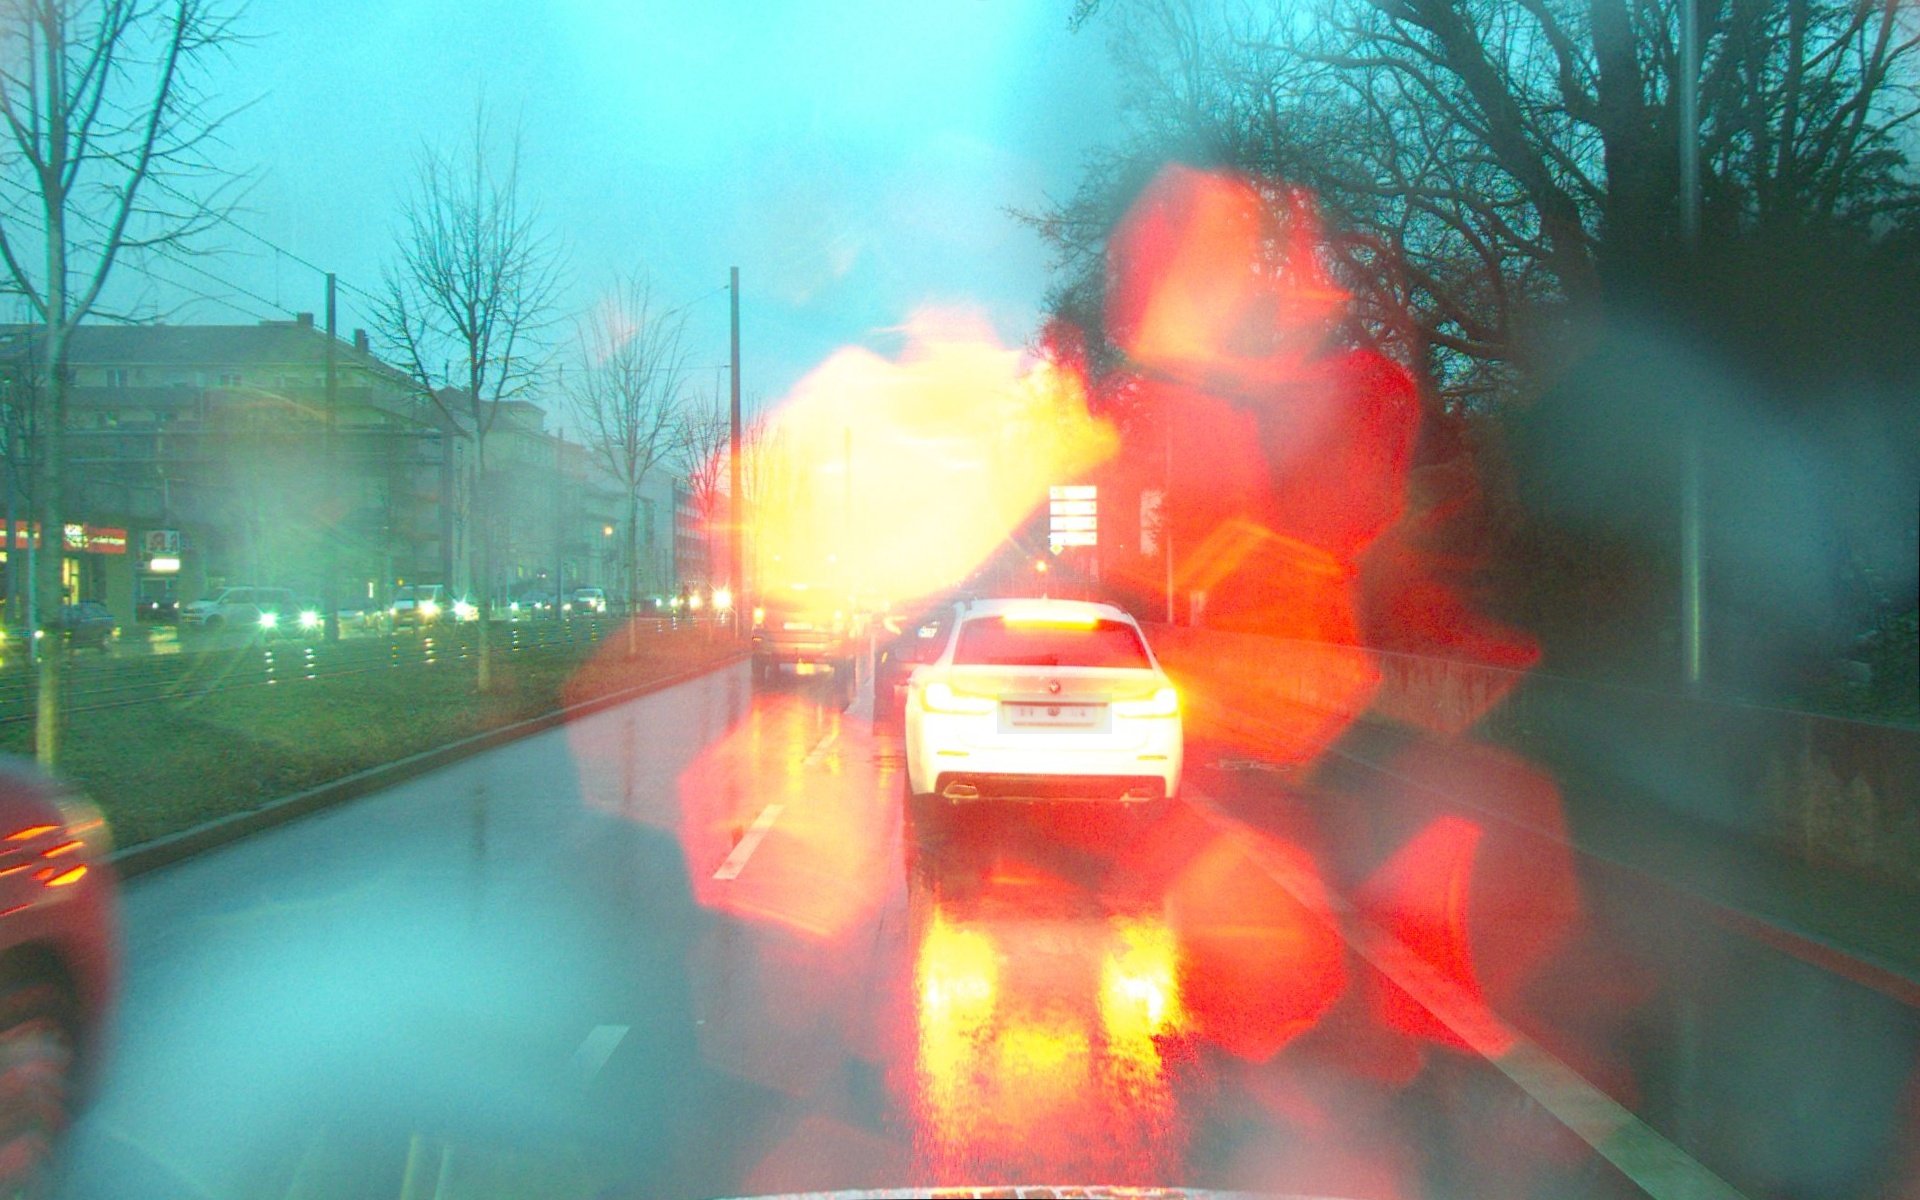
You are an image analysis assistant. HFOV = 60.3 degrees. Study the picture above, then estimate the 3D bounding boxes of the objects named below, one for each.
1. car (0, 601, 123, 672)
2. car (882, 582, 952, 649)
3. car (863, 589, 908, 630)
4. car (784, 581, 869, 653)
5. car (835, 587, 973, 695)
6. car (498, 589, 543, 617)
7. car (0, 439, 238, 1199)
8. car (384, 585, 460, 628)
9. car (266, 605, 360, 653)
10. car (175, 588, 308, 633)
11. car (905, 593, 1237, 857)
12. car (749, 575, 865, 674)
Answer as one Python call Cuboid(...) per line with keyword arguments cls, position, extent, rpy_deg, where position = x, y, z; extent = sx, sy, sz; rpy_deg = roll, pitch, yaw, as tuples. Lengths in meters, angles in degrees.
Cuboid(cls="car", position=(-25.877, 0.994, 47.459), extent=(1.687, 1.918, 3.926), rpy_deg=(0, 0, 1))
Cuboid(cls="car", position=(-1.128, 0.384, 44.396), extent=(1.770, 1.674, 4.000), rpy_deg=(1, 0, 0))
Cuboid(cls="car", position=(-3.137, 0.365, 70.236), extent=(1.770, 1.674, 4.000), rpy_deg=(1, 0, 0))
Cuboid(cls="car", position=(-3.475, 0.435, 43.763), extent=(1.953, 1.785, 3.999), rpy_deg=(1, 0, -1))
Cuboid(cls="car", position=(-0.792, 0.560, 25.044), extent=(1.896, 1.483, 4.163), rpy_deg=(1, 0, -1))
Cuboid(cls="car", position=(-27.952, 0.190, 105.295), extent=(1.858, 1.749, 4.912), rpy_deg=(0, 0, -4))
Cuboid(cls="car", position=(-2.826, 0.539, 2.235), extent=(1.757, 1.766, 4.536), rpy_deg=(1, 0, -1))
Cuboid(cls="car", position=(-22.873, 0.237, 70.461), extent=(1.858, 1.749, 5.114), rpy_deg=(0, 0, -4))
Cuboid(cls="car", position=(-21.271, 0.929, 54.485), extent=(1.858, 1.456, 3.703), rpy_deg=(0, 0, -4))
Cuboid(cls="car", position=(-32.303, 0.447, 74.459), extent=(1.966, 1.945, 5.128), rpy_deg=(0, 0, 44))
Cuboid(cls="car", position=(0.640, 0.736, 11.887), extent=(1.958, 1.534, 4.163), rpy_deg=(1, 0, -1))
Cuboid(cls="car", position=(-2.750, 0.406, 30.477), extent=(1.770, 1.674, 4.000), rpy_deg=(1, 0, 0))
